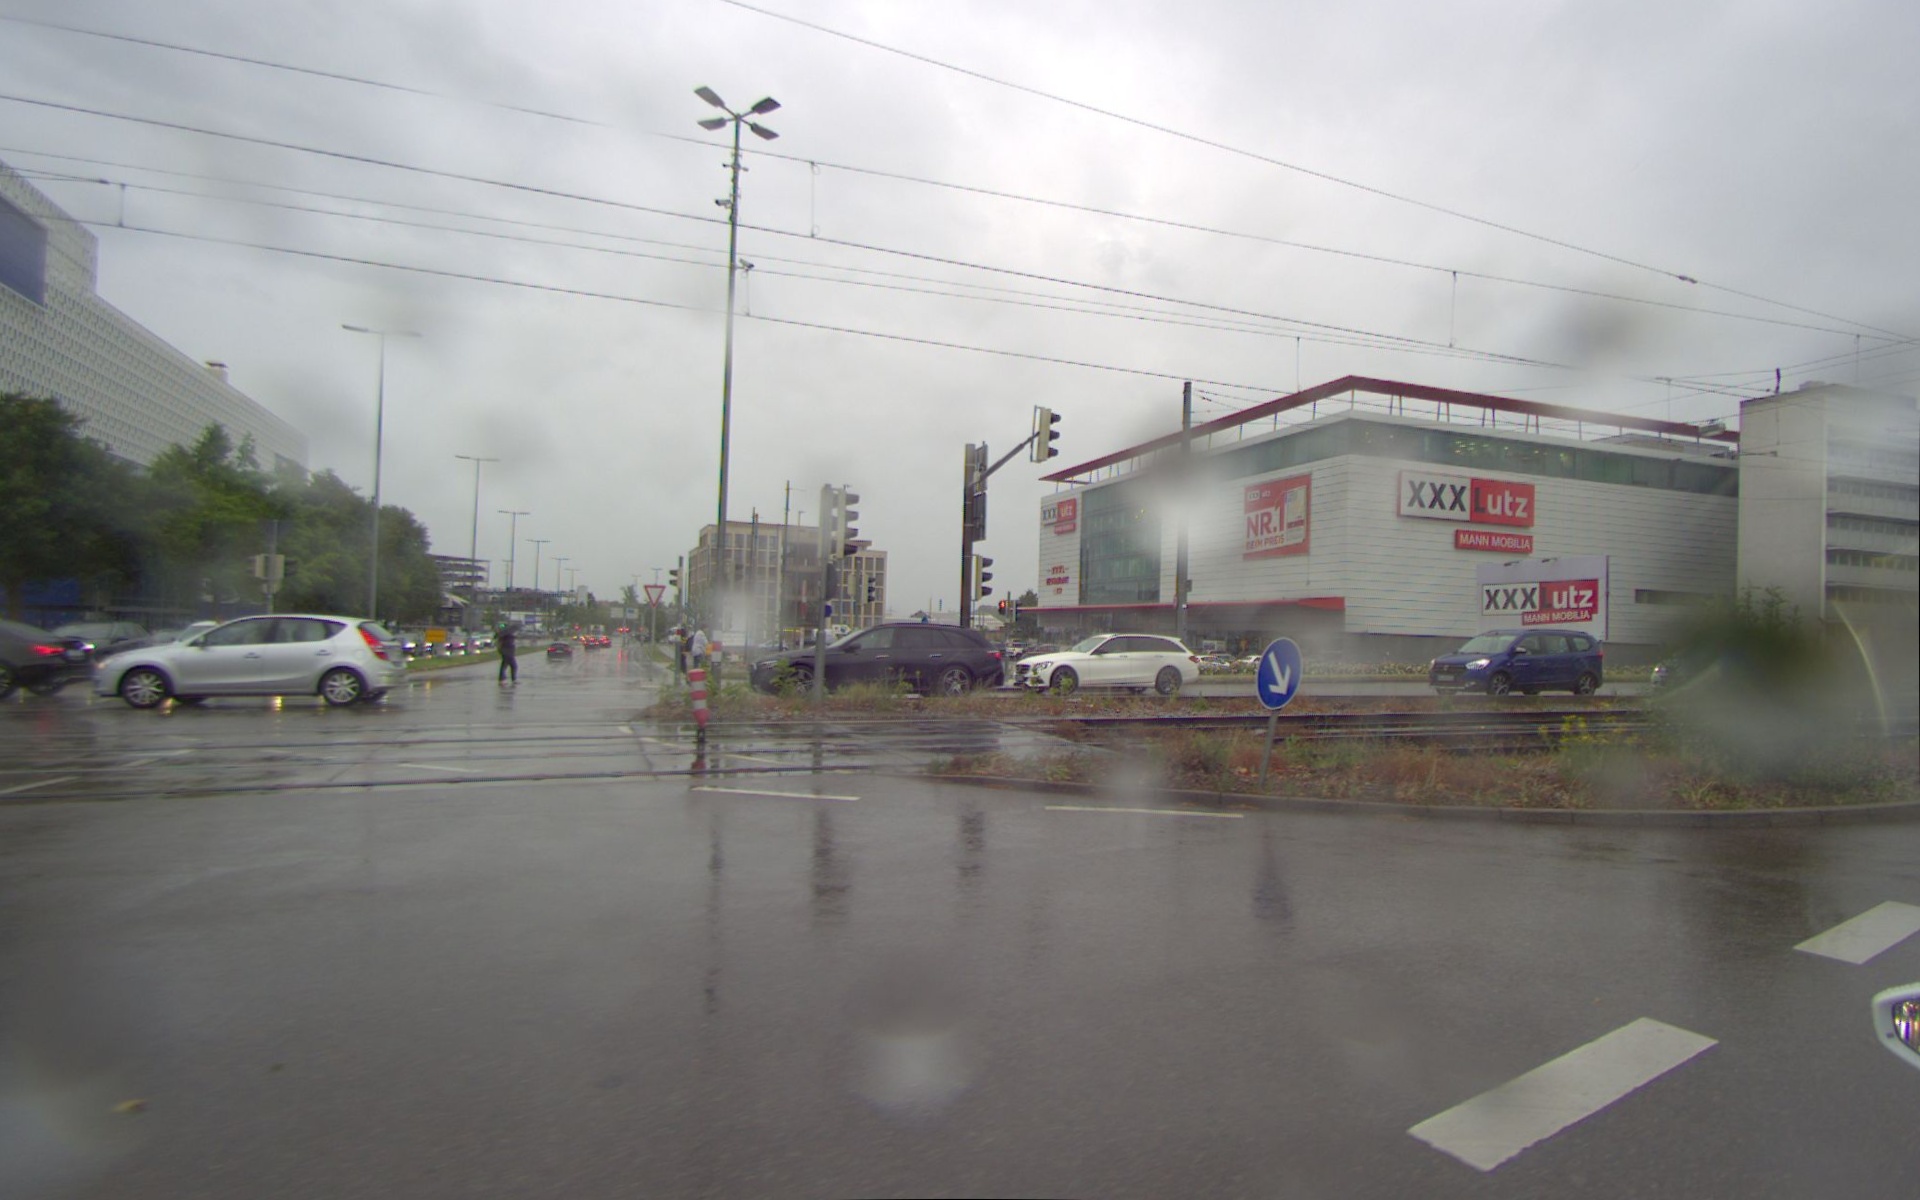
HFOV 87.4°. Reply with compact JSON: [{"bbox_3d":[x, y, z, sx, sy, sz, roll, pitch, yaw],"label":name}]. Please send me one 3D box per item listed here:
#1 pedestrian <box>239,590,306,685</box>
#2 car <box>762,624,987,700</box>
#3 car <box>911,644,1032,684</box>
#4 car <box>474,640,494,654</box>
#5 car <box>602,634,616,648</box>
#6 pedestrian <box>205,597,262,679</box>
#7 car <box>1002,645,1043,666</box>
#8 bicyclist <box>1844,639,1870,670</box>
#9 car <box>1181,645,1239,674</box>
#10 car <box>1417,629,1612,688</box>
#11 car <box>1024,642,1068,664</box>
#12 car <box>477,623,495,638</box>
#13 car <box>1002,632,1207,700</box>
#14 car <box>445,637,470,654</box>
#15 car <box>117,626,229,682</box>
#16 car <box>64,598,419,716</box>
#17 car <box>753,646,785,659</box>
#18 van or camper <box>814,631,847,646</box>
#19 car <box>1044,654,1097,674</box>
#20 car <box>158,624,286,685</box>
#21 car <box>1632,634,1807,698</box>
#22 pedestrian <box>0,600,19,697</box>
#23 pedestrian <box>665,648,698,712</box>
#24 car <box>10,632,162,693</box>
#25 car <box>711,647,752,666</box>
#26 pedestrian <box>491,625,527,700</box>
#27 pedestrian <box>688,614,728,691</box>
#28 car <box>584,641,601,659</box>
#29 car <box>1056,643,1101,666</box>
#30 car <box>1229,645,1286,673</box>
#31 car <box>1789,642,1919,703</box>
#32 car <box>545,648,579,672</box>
[{"bbox_3d":[-17.330,0.930,25.337,0.971,2.274,0.920,4,1,-8],"label":"pedestrian"},{"bbox_3d":[-1.641,1.129,19.115,3.984,1.266,1.710,1,1,-19],"label":"car"},{"bbox_3d":[0.390,2.260,35.895,3.981,1.266,1.711,1,1,-17],"label":"car"},{"bbox_3d":[-56.684,5.591,119.673,1.577,1.426,3.809,2,0,-18],"label":"car"},{"bbox_3d":[-55.183,6.445,157.728,1.970,2.040,3.982,2,0,-20],"label":"car"},{"bbox_3d":[-18.572,0.967,25.696,0.842,2.040,0.784,2,0,-4],"label":"pedestrian"},{"bbox_3d":[6.803,6.070,109.738,3.945,2.040,1.988,2,1,-24],"label":"car"},{"bbox_3d":[47.508,2.872,53.204,0.780,1.611,0.670,2,1,-21],"label":"bicyclist"},{"bbox_3d":[19.323,4.617,77.715,3.945,2.040,1.988,2,1,-24],"label":"car"},{"bbox_3d":[13.482,1.373,24.427,4.394,1.266,1.709,1,1,-21],"label":"car"},{"bbox_3d":[8.764,5.394,102.045,3.945,2.040,1.988,2,1,-24],"label":"car"},{"bbox_3d":[-70.835,4.588,150.042,1.970,2.040,3.982,2,0,-20],"label":"car"},{"bbox_3d":[3.506,1.558,24.457,4.641,1.455,1.809,1,1,-20],"label":"car"},{"bbox_3d":[-49.344,4.458,98.765,1.577,1.426,3.970,2,0,-18],"label":"car"},{"bbox_3d":[-26.879,1.807,34.459,1.733,1.639,4.001,2,0,-19],"label":"car"},{"bbox_3d":[-11.447,0.868,16.361,4.358,1.731,1.711,1,1,-18],"label":"car"},{"bbox_3d":[-22.774,6.238,119.857,3.511,1.426,1.779,2,0,-18],"label":"car"},{"bbox_3d":[-20.443,6.057,158.786,4.928,2.141,1.774,2,0,-27],"label":"van or camper"},{"bbox_3d":[8.298,4.801,75.315,3.674,1.281,1.543,2,0,-25],"label":"car"},{"bbox_3d":[-21.693,1.543,29.741,1.791,1.561,4.444,1,0,-19],"label":"car"},{"bbox_3d":[20.335,1.721,26.908,3.981,1.556,1.711,1,1,-17],"label":"car"},{"bbox_3d":[-22.040,1.100,22.920,0.620,2.164,0.572,1,1,10],"label":"pedestrian"},{"bbox_3d":[-8.267,2.363,29.802,0.759,1.842,0.710,2,0,-29],"label":"pedestrian"},{"bbox_3d":[-25.095,1.743,29.045,1.791,1.561,4.271,1,-1,-19],"label":"car"},{"bbox_3d":[-19.468,4.825,85.731,3.126,1.544,1.563,2,0,-25],"label":"car"},{"bbox_3d":[-12.756,1.762,28.413,0.657,2.040,0.768,2,0,-7],"label":"pedestrian"},{"bbox_3d":[-6.877,1.412,27.372,0.847,2.040,0.691,2,0,-29],"label":"pedestrian"},{"bbox_3d":[-46.773,6.362,127.856,1.970,2.040,3.982,2,0,-20],"label":"car"},{"bbox_3d":[11.529,5.335,97.757,3.945,2.040,1.988,2,1,-24],"label":"car"},{"bbox_3d":[23.602,4.645,79.606,3.945,2.040,1.988,2,1,-24],"label":"car"},{"bbox_3d":[31.629,2.530,35.141,4.720,1.927,1.990,2,0,-21],"label":"car"},{"bbox_3d":[-29.131,4.393,73.561,2.004,1.426,4.204,2,0,-18],"label":"car"}]
